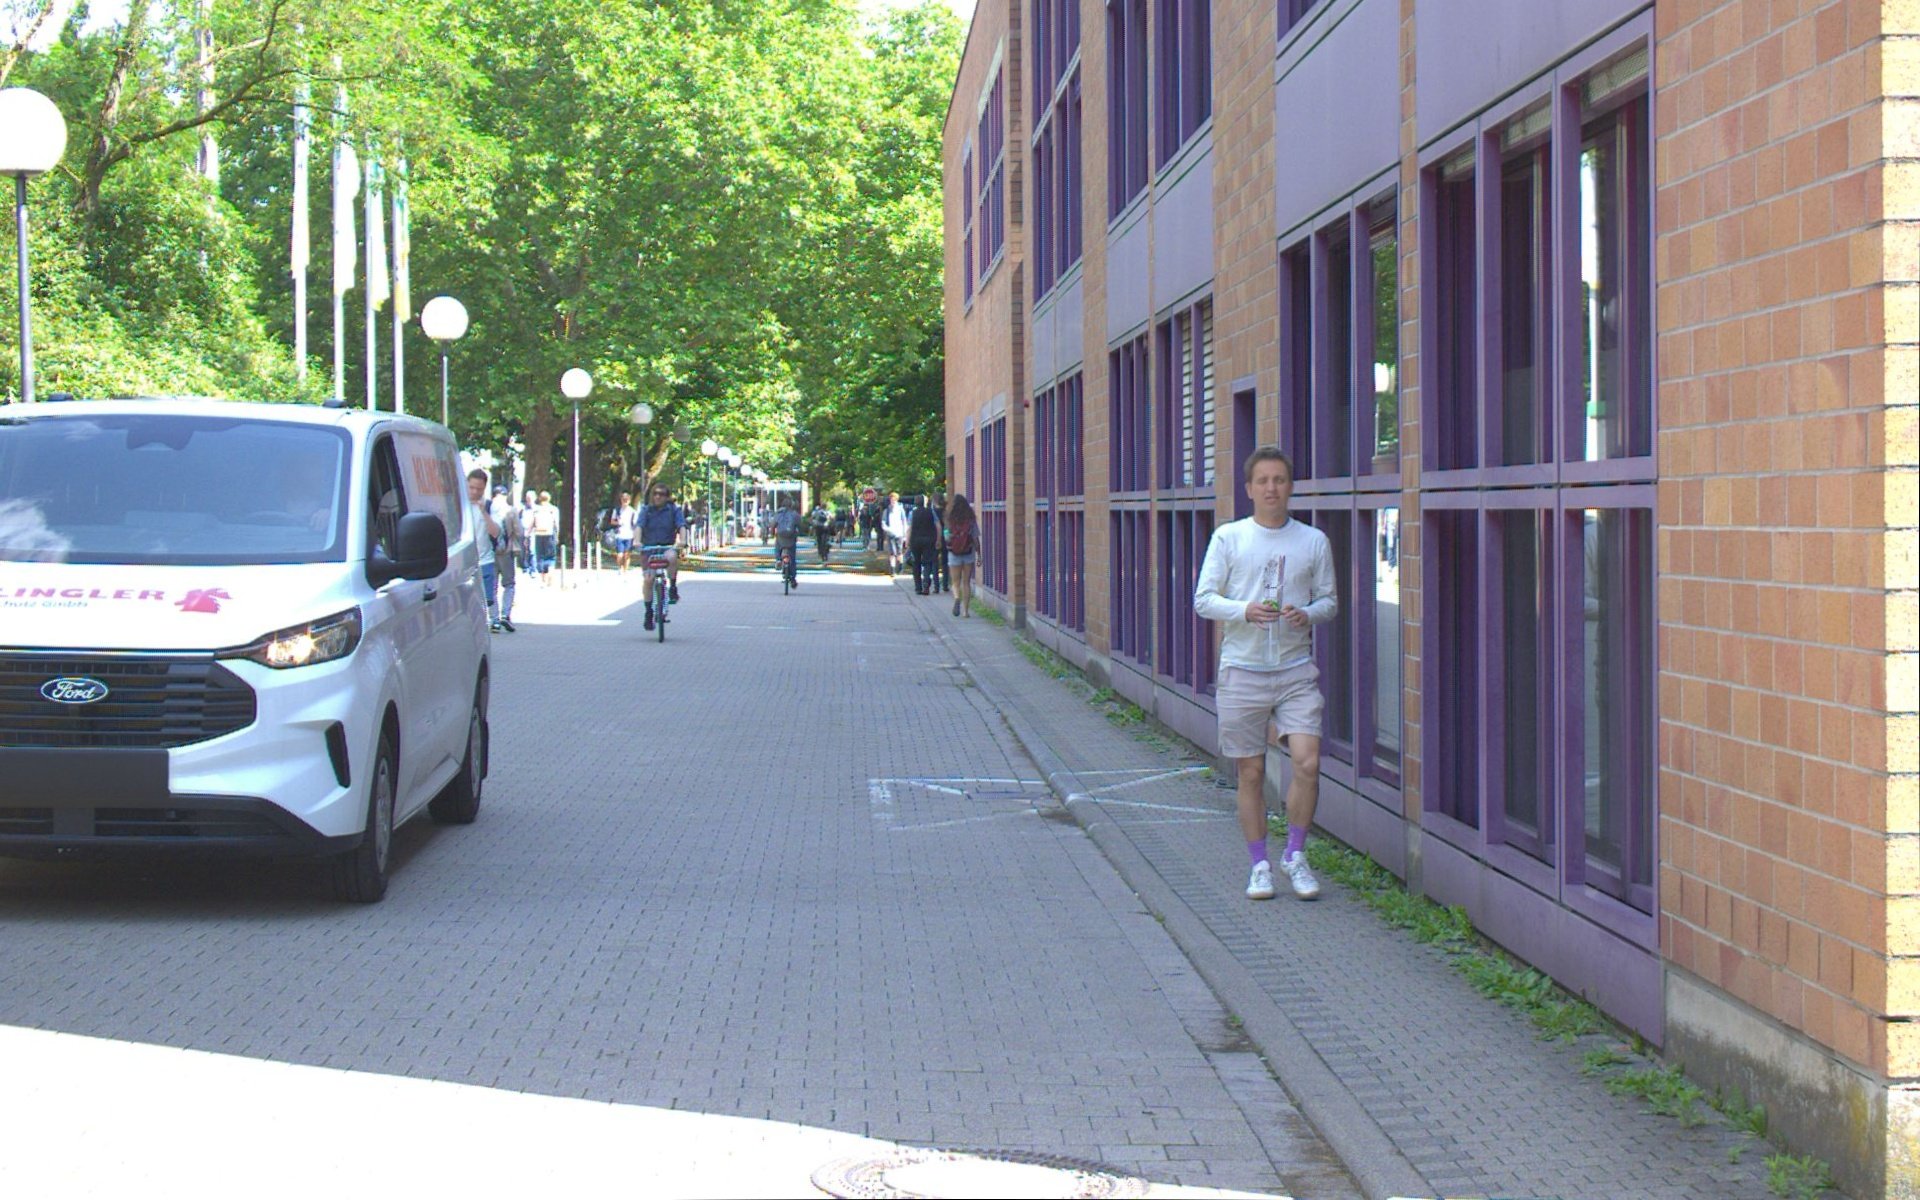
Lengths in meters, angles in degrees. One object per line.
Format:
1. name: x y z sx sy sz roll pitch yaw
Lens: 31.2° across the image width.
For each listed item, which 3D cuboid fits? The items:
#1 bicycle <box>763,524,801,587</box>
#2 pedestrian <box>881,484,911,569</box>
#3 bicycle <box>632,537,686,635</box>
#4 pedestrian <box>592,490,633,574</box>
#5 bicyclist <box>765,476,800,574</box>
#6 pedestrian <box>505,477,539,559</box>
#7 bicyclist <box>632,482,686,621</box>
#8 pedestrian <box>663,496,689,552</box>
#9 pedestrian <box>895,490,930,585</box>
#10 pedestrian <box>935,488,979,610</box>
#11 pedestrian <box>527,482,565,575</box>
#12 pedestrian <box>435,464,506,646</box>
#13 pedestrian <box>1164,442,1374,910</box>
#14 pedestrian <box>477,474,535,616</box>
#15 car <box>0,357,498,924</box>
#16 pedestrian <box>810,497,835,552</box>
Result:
1. bicycle: -3.150 -0.797 60.795 0.587 1.080 1.908 1 1 -5
2. pedestrian: -1.457 -1.683 78.868 0.653 1.916 0.817 -1 0 0
3. bicycle: -3.447 -0.175 39.304 0.587 1.080 1.814 1 1 -5
4. pedestrian: -6.988 -1.371 69.091 0.725 1.667 0.748 -1 0 0
5. bicyclist: -3.137 -1.321 60.684 0.587 1.710 0.665 1 1 -5
6. pedestrian: -8.962 -1.669 70.396 0.586 1.667 0.699 -1 0 0
7. bicyclist: -3.438 -0.557 39.265 0.587 1.567 0.829 1 1 -5
8. pedestrian: -8.611 -2.295 104.273 0.725 1.667 0.748 -1 0 0
9. pedestrian: -0.835 -1.102 60.896 0.586 1.667 0.817 -1 0 0
10. pedestrian: -0.043 -0.701 47.574 0.586 1.667 0.699 -1 0 0
11. pedestrian: -7.475 -1.292 62.139 0.586 1.667 0.699 -1 0 0
12. pedestrian: -4.788 -0.438 33.651 0.586 1.759 0.699 -1 0 0
13. pedestrian: 1.179 0.283 13.255 0.682 1.741 0.783 1 0 -2
14. pedestrian: -5.377 -0.647 40.746 0.586 1.667 0.699 -1 0 0
15. car: -3.172 0.079 14.581 1.883 1.967 5.215 1 1 -2
16. pedestrian: -4.221 -2.328 105.547 0.725 1.667 0.748 -1 0 0
